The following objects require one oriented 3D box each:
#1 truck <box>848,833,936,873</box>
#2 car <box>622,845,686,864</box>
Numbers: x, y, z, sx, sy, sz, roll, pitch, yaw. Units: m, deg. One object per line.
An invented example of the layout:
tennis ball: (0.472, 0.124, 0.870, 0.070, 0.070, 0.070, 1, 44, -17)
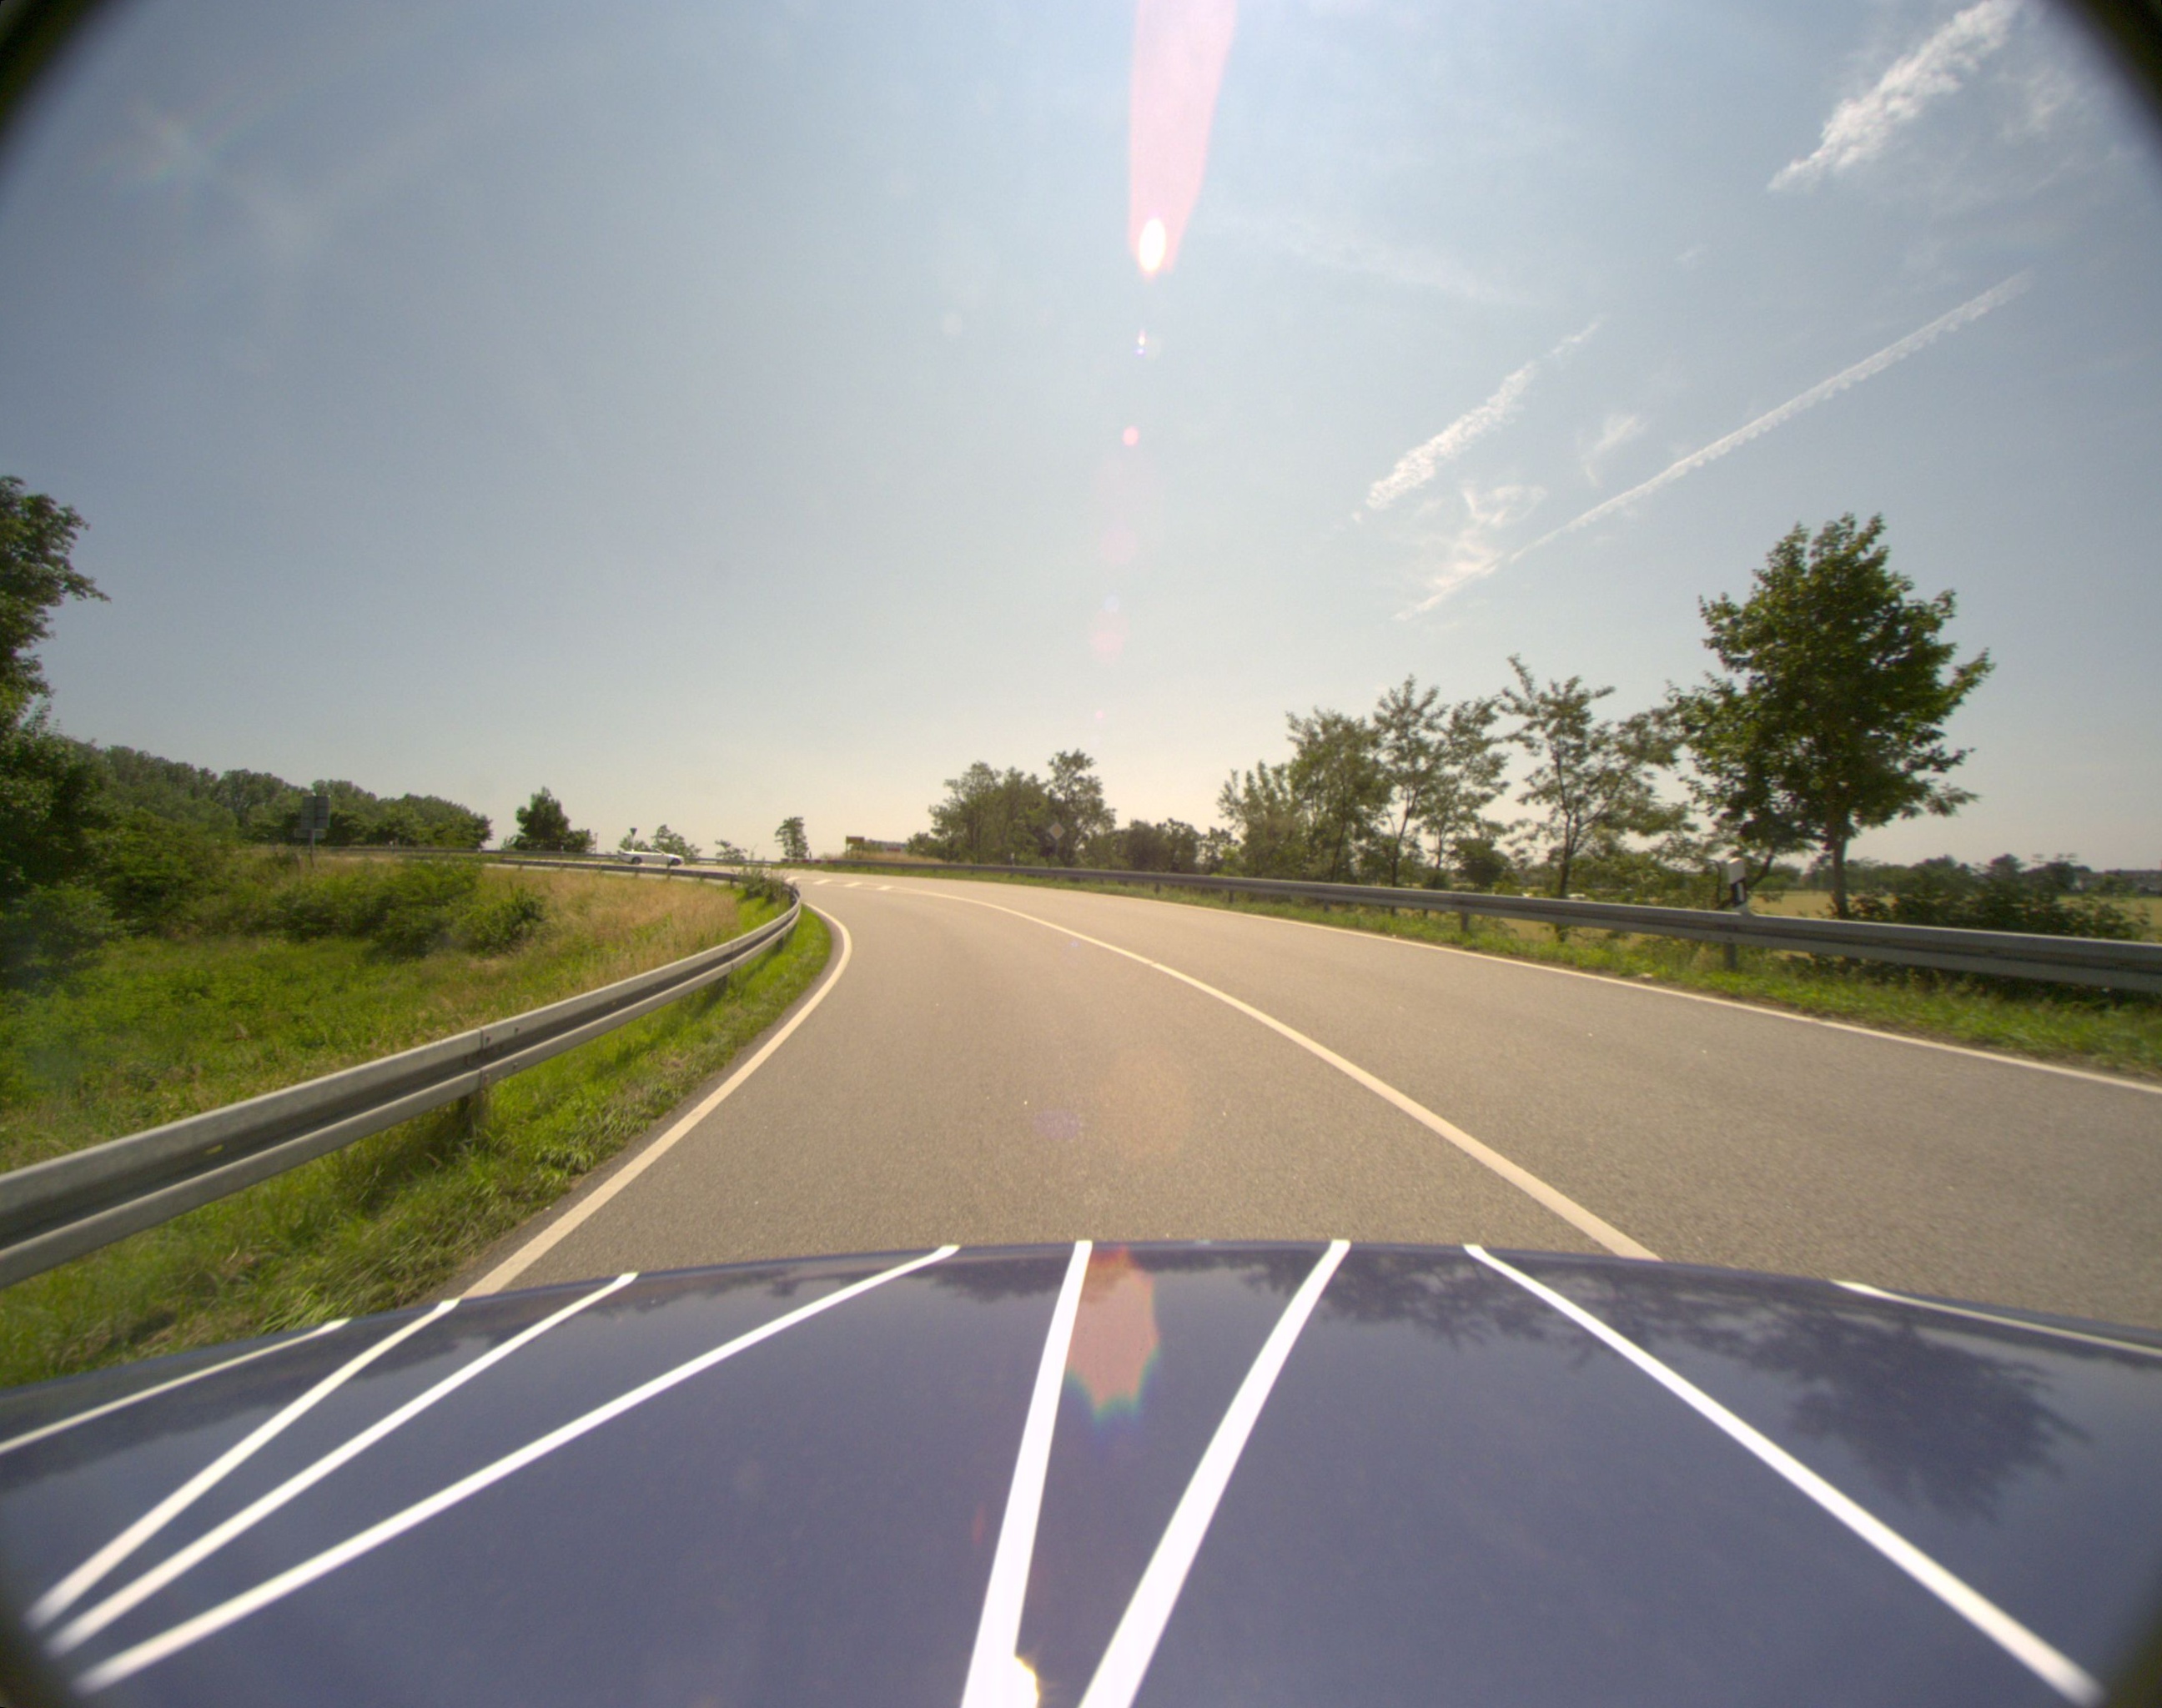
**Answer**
truck: (-20.516, 0.029, 83.260, 2.814, 3.645, 9.974, -1, -4, 34)
car: (-34.428, 0.063, 61.302, 4.119, 1.406, 1.810, 1, -3, -44)
